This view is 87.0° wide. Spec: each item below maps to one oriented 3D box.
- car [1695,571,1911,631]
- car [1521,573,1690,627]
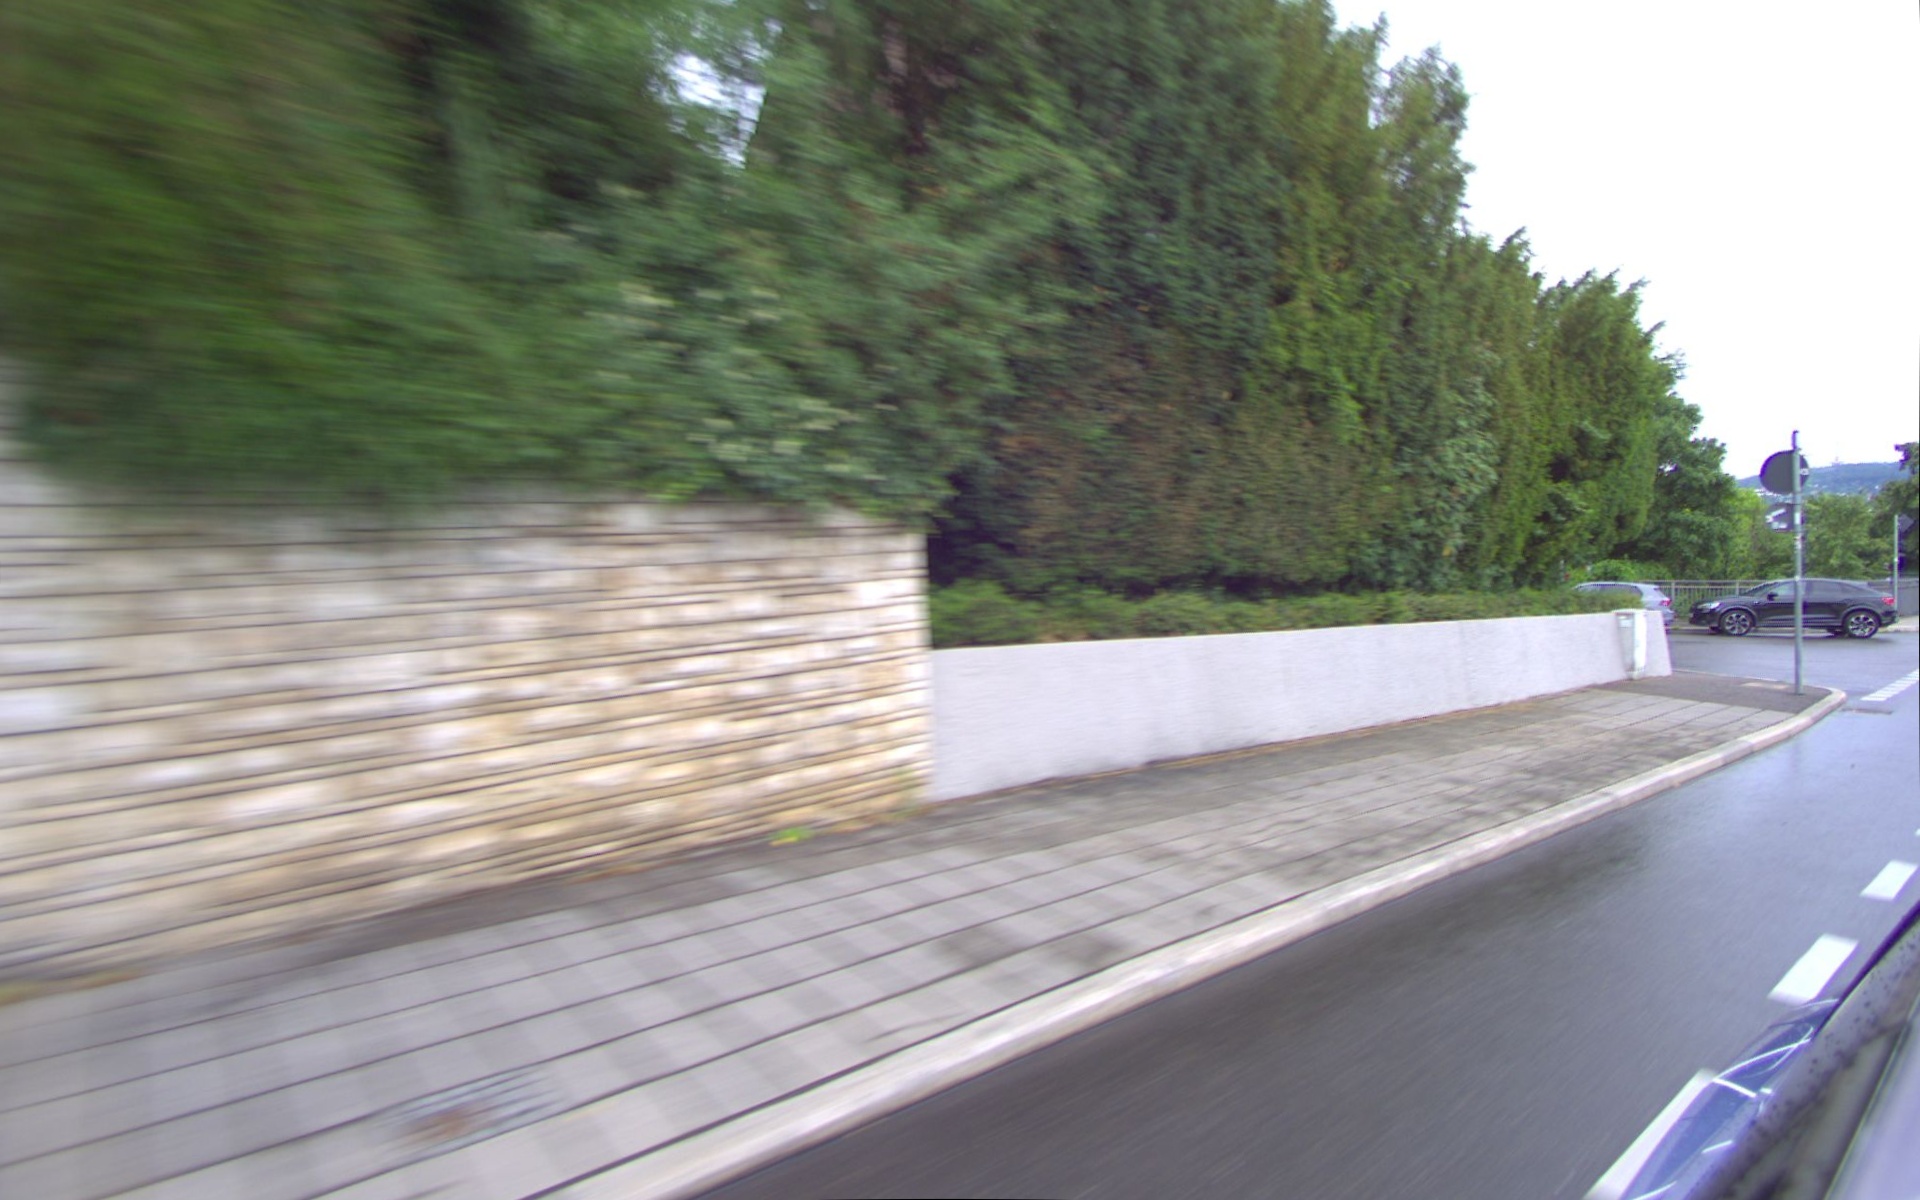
[{"bbox_3d":[22.842,-0.005,27.668,4.160,1.542,1.982,0,1,27],"label":"car"},{"bbox_3d":[18.819,-0.016,29.738,4.018,1.442,1.785,0,3,28],"label":"car"}]
